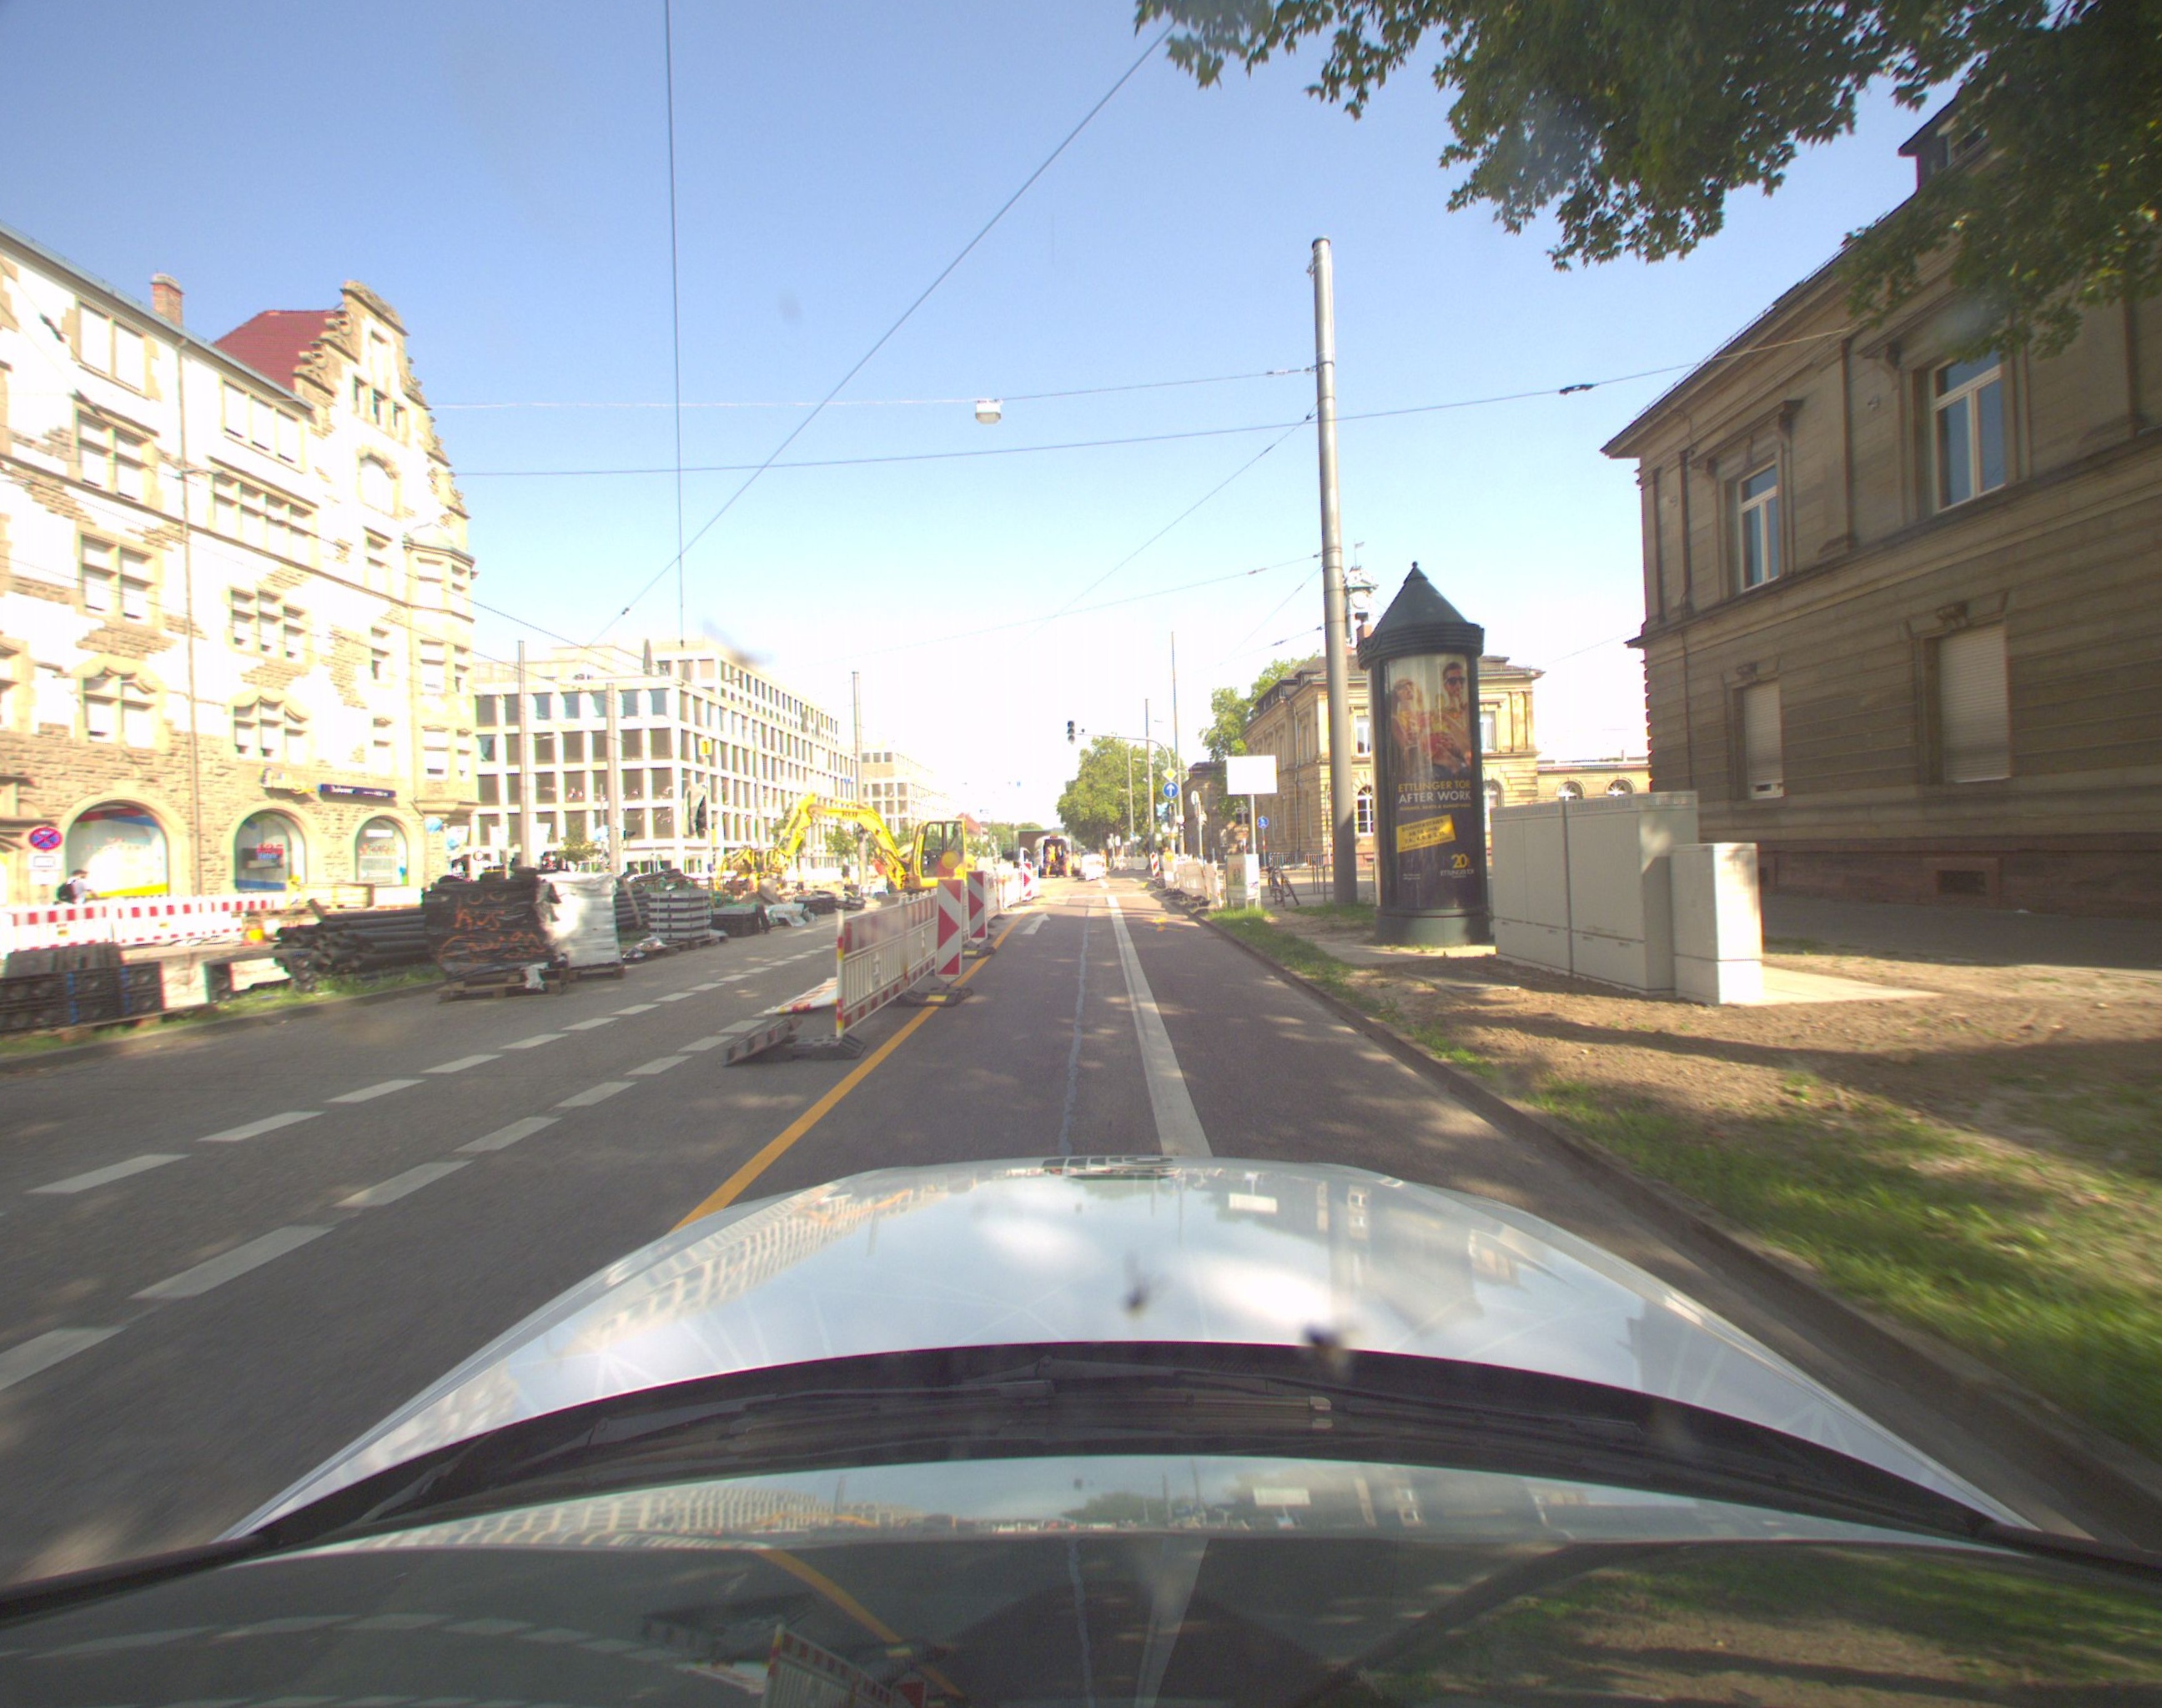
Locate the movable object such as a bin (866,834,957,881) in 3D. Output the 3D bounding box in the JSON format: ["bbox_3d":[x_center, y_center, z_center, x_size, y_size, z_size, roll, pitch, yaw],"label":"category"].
[{"bbox_3d":[-15.749,0.254,76.634,3.472,4.013,9.094,-3,0,24],"label":"movable object such as a bin"}]

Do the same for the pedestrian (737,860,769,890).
[{"bbox_3d":[-16.342,1.036,40.551,1.138,1.442,0.918,-2,-1,1],"label":"pedestrian"}]

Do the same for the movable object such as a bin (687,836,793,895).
[{"bbox_3d":[-21.593,0.693,52.206,2.835,3.330,8.351,-3,0,2],"label":"movable object such as a bin"}]

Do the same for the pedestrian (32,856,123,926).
[{"bbox_3d":[-26.167,0.952,21.258,0.911,1.741,1.146,-2,-1,0],"label":"pedestrian"}]

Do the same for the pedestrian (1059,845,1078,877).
[{"bbox_3d":[-0.801,0.466,52.694,0.727,2.013,0.913,-3,-1,34],"label":"pedestrian"}]

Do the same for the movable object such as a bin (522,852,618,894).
[{"bbox_3d":[-37.602,1.380,60.039,5.595,2.739,2.135,-2,-1,0],"label":"movable object such as a bin"}]

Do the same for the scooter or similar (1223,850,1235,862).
[{"bbox_3d":[15.976,0.171,87.803,1.257,1.210,0.419,-4,2,-25],"label":"scooter or similar"}]

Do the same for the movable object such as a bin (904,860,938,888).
[{"bbox_3d":[-7.316,0.890,37.373,0.746,1.170,2.296,-2,0,8],"label":"movable object such as a bin"}]

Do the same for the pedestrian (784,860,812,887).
[{"bbox_3d":[-15.776,1.070,45.382,1.138,1.442,1.021,-2,-1,1],"label":"pedestrian"}]

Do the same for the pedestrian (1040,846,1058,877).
[{"bbox_3d":[-2.101,0.490,53.276,0.727,2.013,0.913,-3,-1,32],"label":"pedestrian"}]

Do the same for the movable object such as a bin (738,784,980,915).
[{"bbox_3d":[-6.104,-0.187,22.753,6.162,3.346,2.103,-2,-1,-19],"label":"movable object such as a bin"}]

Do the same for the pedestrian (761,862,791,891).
[{"bbox_3d":[-15.867,1.185,42.439,1.138,1.442,0.918,-2,-1,1],"label":"pedestrian"}]

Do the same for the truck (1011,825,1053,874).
[{"bbox_3d":[-4.128,-0.308,67.468,2.672,3.678,8.190,-3,0,-8],"label":"truck"}]

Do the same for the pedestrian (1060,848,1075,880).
[{"bbox_3d":[-0.891,0.657,53.627,0.730,2.013,0.909,-3,-1,7],"label":"pedestrian"}]

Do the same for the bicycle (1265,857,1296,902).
[{"bbox_3d":[4.631,0.579,18.996,0.408,0.987,1.377,-3,0,3],"label":"bicycle"}]

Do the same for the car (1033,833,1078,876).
[{"bbox_3d":[-1.834,0.087,56.131,2.226,2.729,5.151,-2,0,-11],"label":"car"}]

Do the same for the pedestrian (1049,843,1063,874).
[{"bbox_3d":[-1.684,0.281,54.729,0.730,2.013,0.909,-3,-1,6],"label":"pedestrian"}]
